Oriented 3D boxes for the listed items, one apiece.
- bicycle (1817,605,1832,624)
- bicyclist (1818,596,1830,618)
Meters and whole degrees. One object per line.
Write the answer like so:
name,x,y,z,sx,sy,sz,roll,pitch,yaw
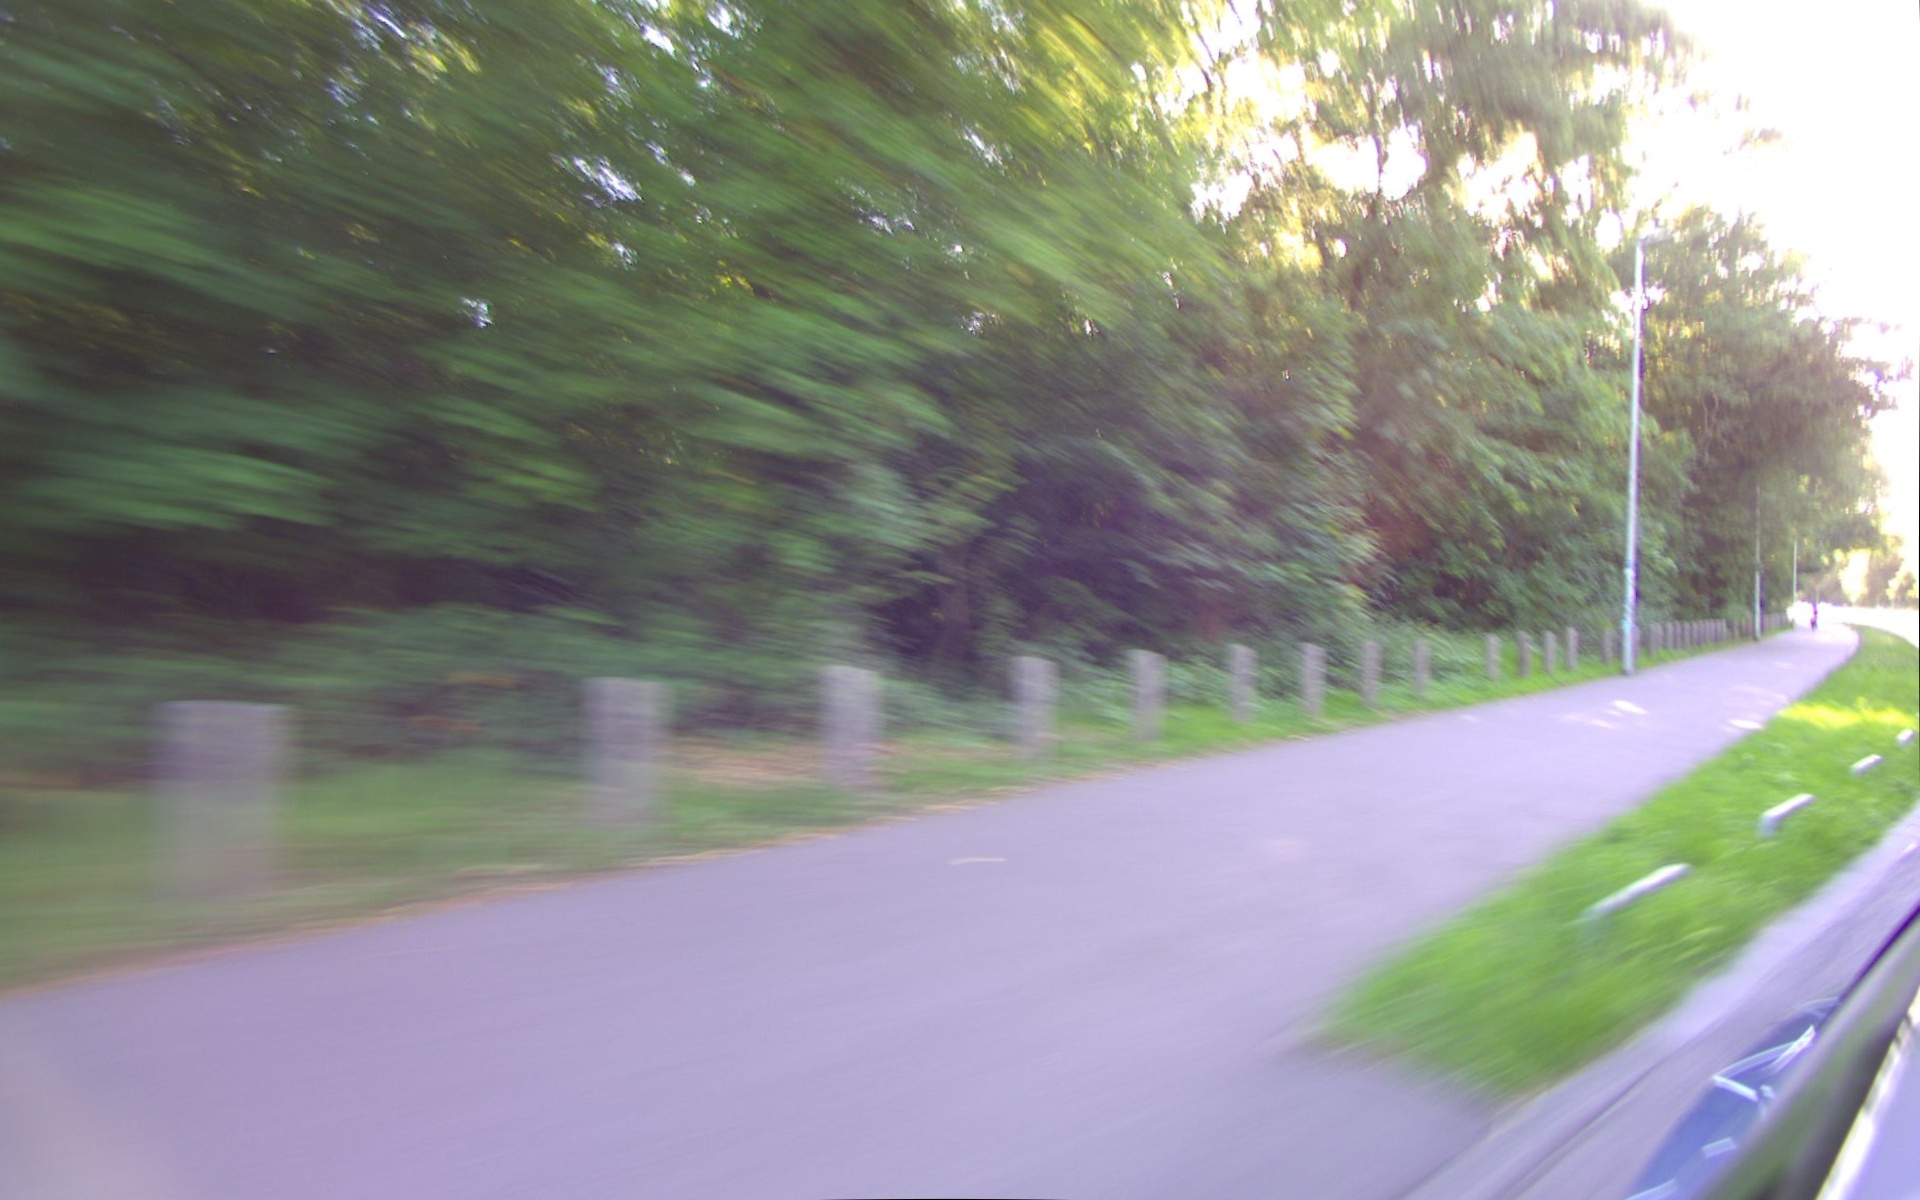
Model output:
bicycle,50.826,0.842,59.475,0.606,1.070,2.831,0,0,41
bicyclist,50.651,0.433,59.332,0.512,1.283,0.490,0,0,42
